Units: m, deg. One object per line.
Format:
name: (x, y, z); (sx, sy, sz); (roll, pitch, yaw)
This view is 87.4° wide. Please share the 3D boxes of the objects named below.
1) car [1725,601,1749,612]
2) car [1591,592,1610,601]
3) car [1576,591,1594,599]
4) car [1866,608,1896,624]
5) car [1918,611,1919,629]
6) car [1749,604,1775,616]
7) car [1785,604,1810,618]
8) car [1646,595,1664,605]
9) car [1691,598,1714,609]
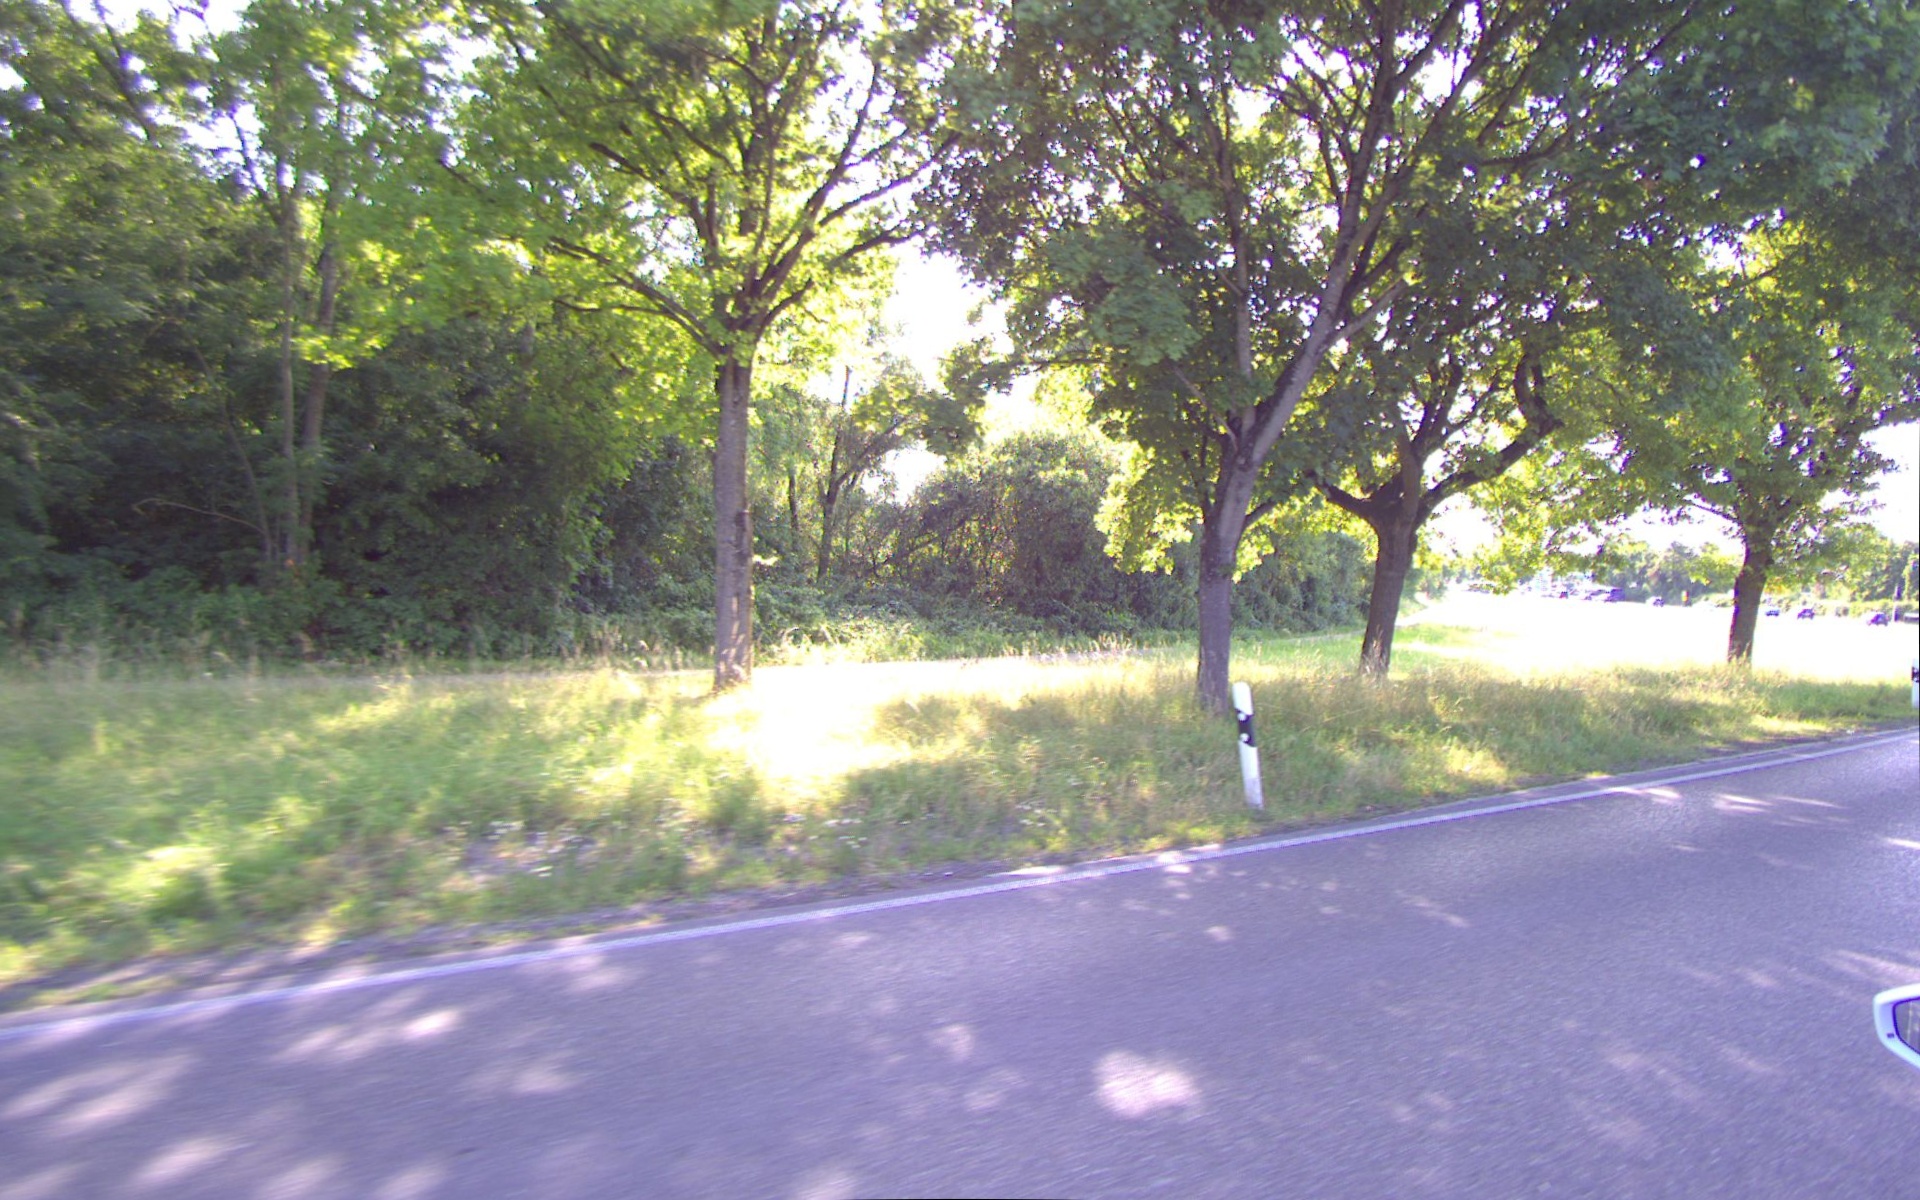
car: (117.295, 1.040, 151.727); (1.651, 1.579, 3.873); (2, 0, 19)
car: (128.361, -0.682, 201.410); (2.050, 1.621, 4.001); (2, 1, 15)
car: (131.276, -0.994, 210.912); (2.050, 1.621, 4.001); (2, 1, 15)
car: (100.477, 1.746, 109.622); (1.497, 1.678, 3.865); (2, 0, 30)
car: (90.933, 1.862, 93.513); (1.816, 1.678, 3.989); (2, 0, 33)
car: (113.980, 1.431, 142.787); (1.651, 1.579, 3.873); (2, 0, 19)
car: (110.357, 1.467, 132.407); (1.495, 1.678, 3.870); (2, 0, 24)
car: (127.568, -0.036, 184.393); (1.699, 1.678, 3.872); (2, 0, 20)
car: (121.304, 0.599, 164.168); (1.943, 1.678, 3.873); (2, 0, 19)
